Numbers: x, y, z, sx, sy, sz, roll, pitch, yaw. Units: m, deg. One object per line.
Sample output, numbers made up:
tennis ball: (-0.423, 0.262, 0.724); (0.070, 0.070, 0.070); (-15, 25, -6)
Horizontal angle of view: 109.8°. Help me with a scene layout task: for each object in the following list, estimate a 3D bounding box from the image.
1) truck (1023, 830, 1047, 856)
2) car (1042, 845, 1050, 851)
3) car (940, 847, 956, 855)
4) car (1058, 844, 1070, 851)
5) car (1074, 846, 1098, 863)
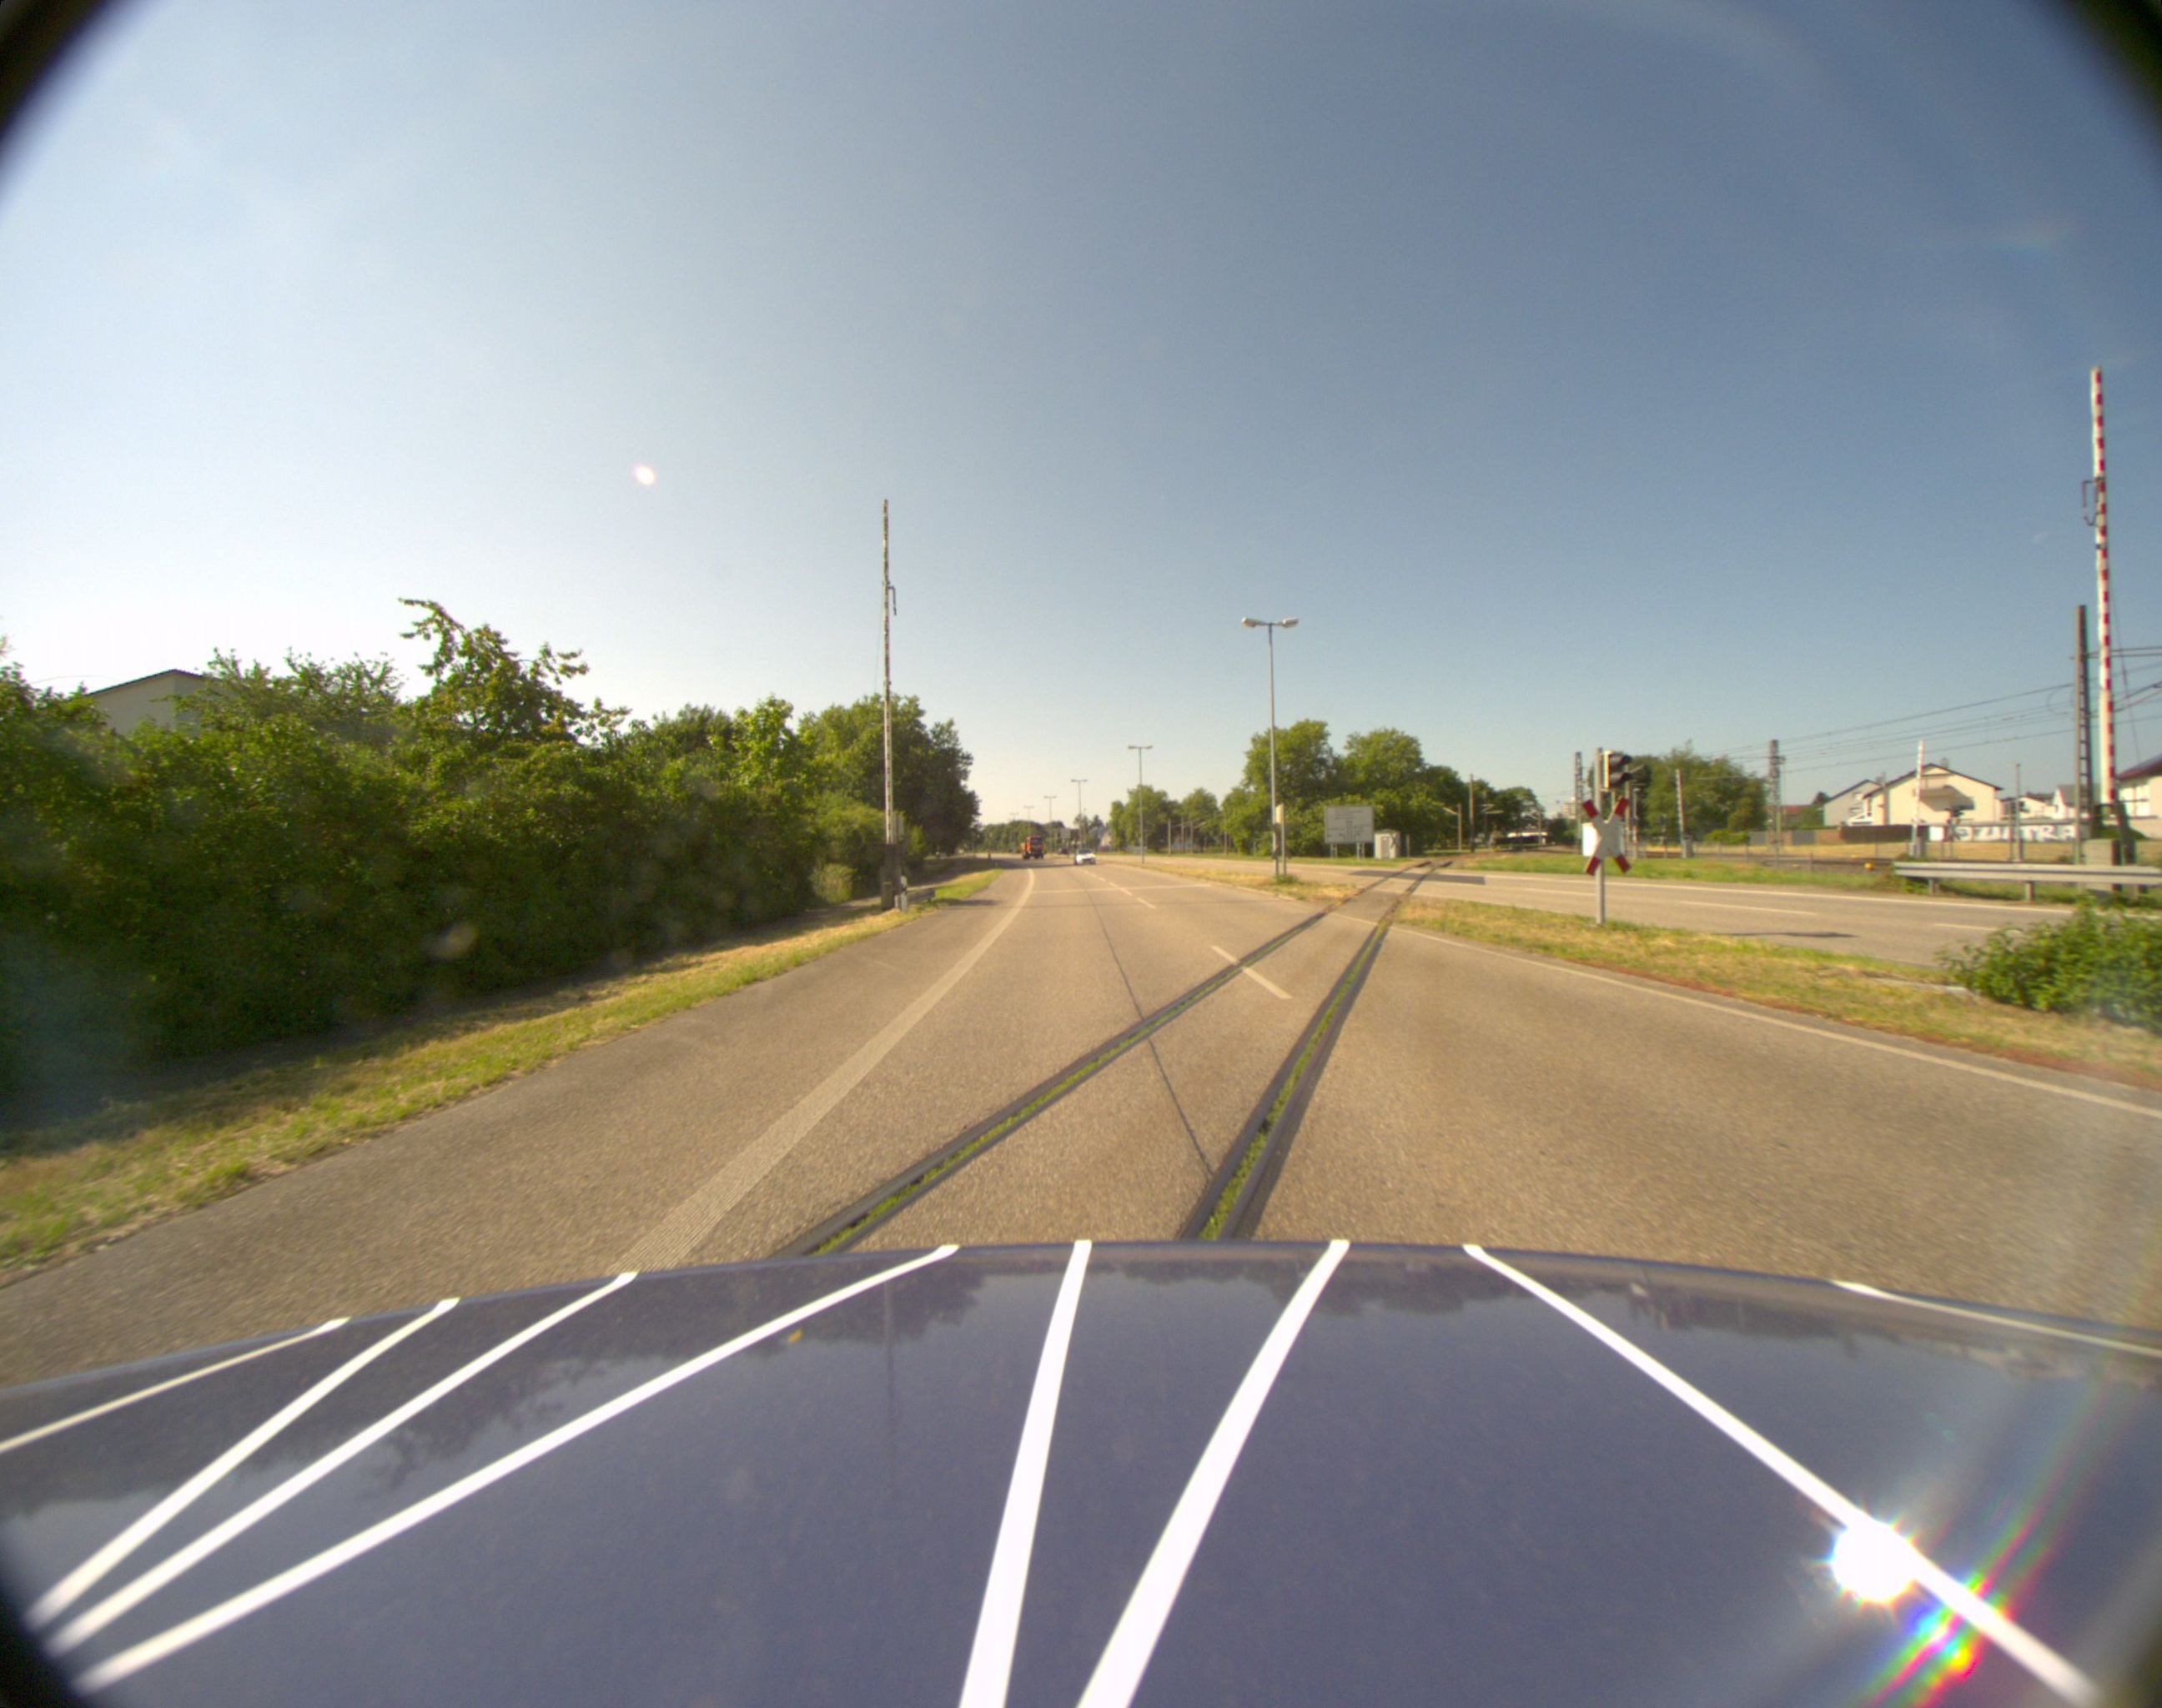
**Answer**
truck: (-7.077, -1.686, 116.169); (2.943, 3.853, 6.584); (-1, 1, -11)
car: (-9.587, -1.637, 208.876); (1.837, 1.457, 4.465); (-2, 1, -9)
car: (-35.118, -0.792, 200.099); (4.065, 1.555, 1.741); (-6, 2, -11)
car: (-3.929, -1.507, 176.327); (1.989, 1.650, 4.550); (-1, 1, -10)
car: (0.448, -0.021, 70.975); (1.869, 1.499, 4.334); (-1, 1, -4)
